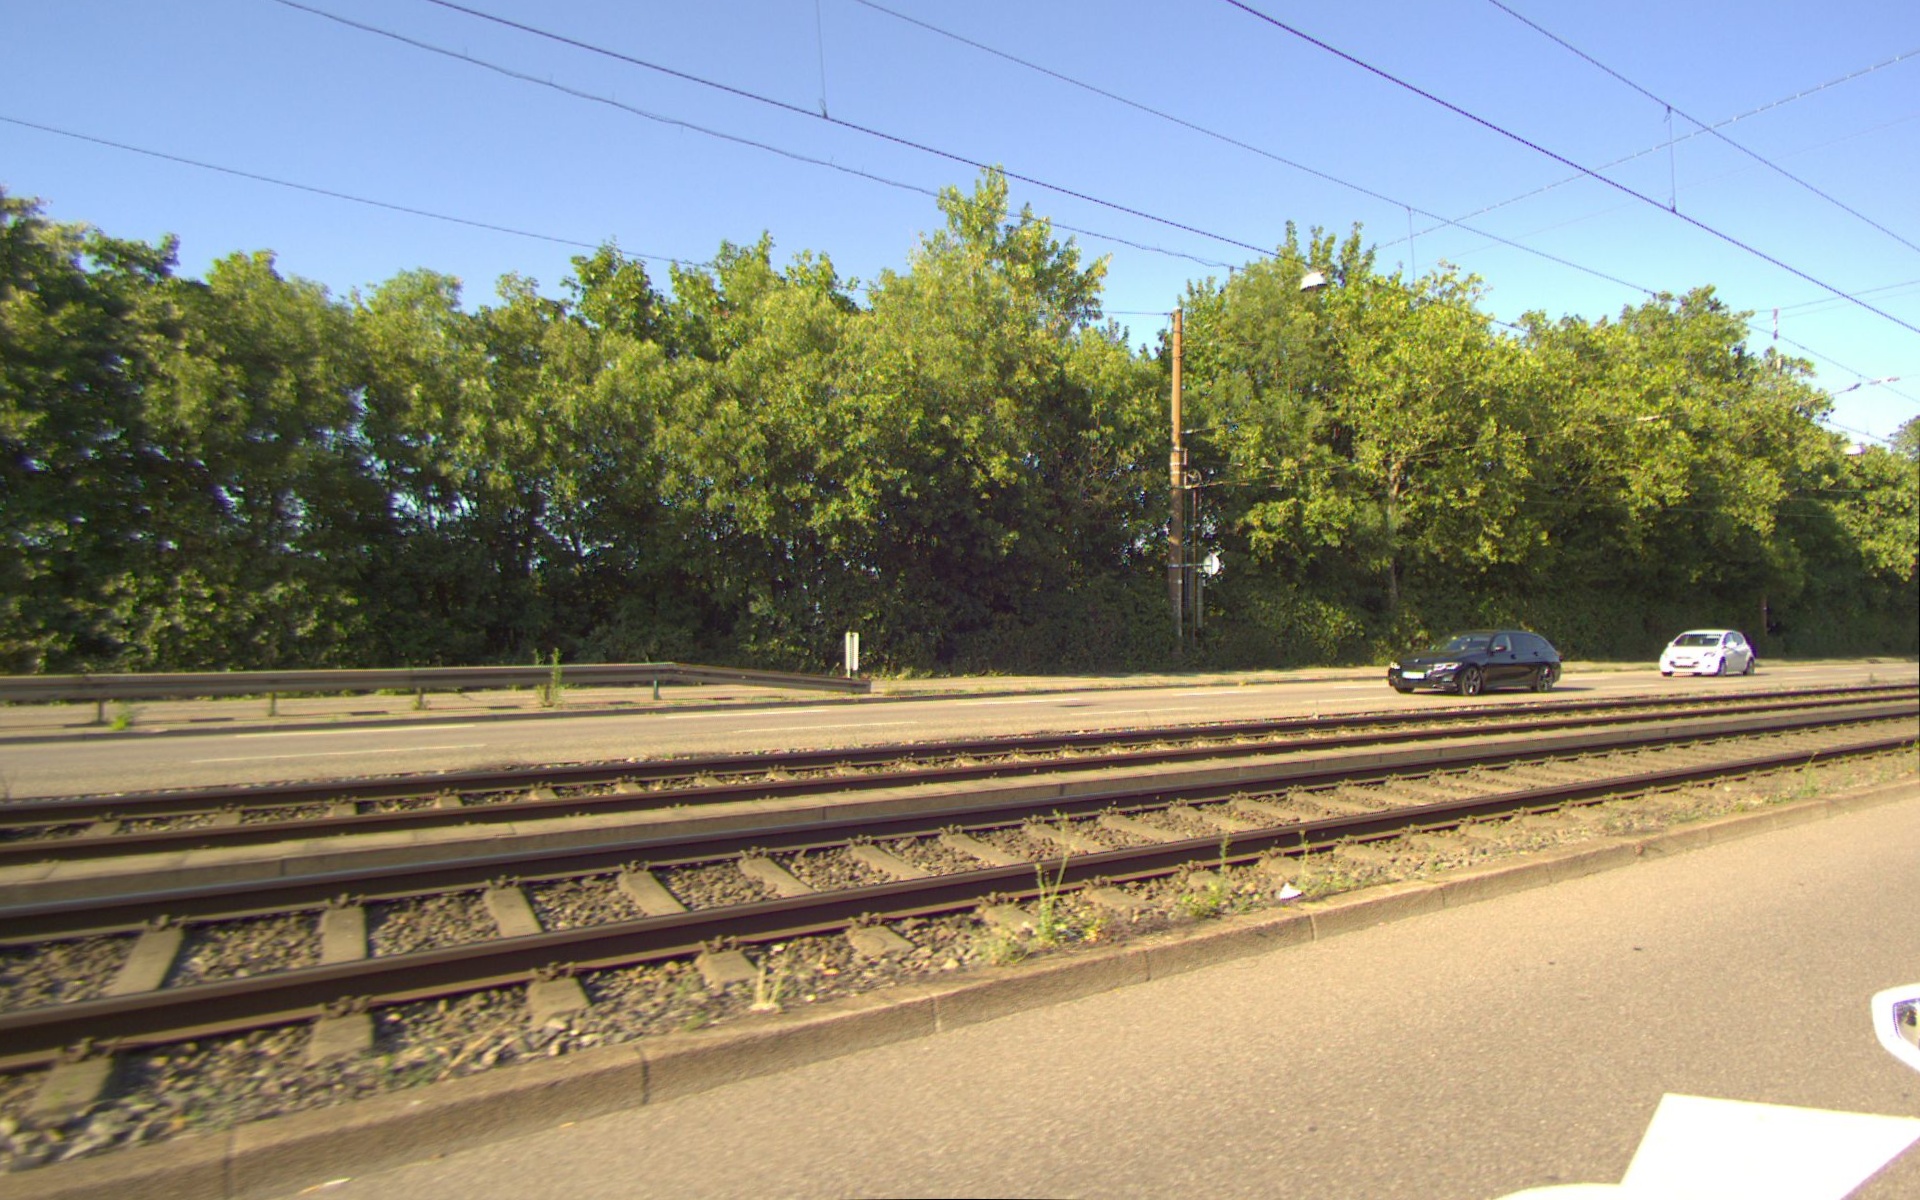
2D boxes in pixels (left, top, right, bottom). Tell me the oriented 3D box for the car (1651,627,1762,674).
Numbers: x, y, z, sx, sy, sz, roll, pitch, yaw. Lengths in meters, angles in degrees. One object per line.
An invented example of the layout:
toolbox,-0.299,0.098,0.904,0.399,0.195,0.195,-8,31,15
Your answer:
car,26.112,1.764,35.106,4.143,1.576,1.683,2,-3,-31

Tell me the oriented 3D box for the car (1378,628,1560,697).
car,11.753,1.419,23.119,4.450,1.451,1.649,2,-3,-31
